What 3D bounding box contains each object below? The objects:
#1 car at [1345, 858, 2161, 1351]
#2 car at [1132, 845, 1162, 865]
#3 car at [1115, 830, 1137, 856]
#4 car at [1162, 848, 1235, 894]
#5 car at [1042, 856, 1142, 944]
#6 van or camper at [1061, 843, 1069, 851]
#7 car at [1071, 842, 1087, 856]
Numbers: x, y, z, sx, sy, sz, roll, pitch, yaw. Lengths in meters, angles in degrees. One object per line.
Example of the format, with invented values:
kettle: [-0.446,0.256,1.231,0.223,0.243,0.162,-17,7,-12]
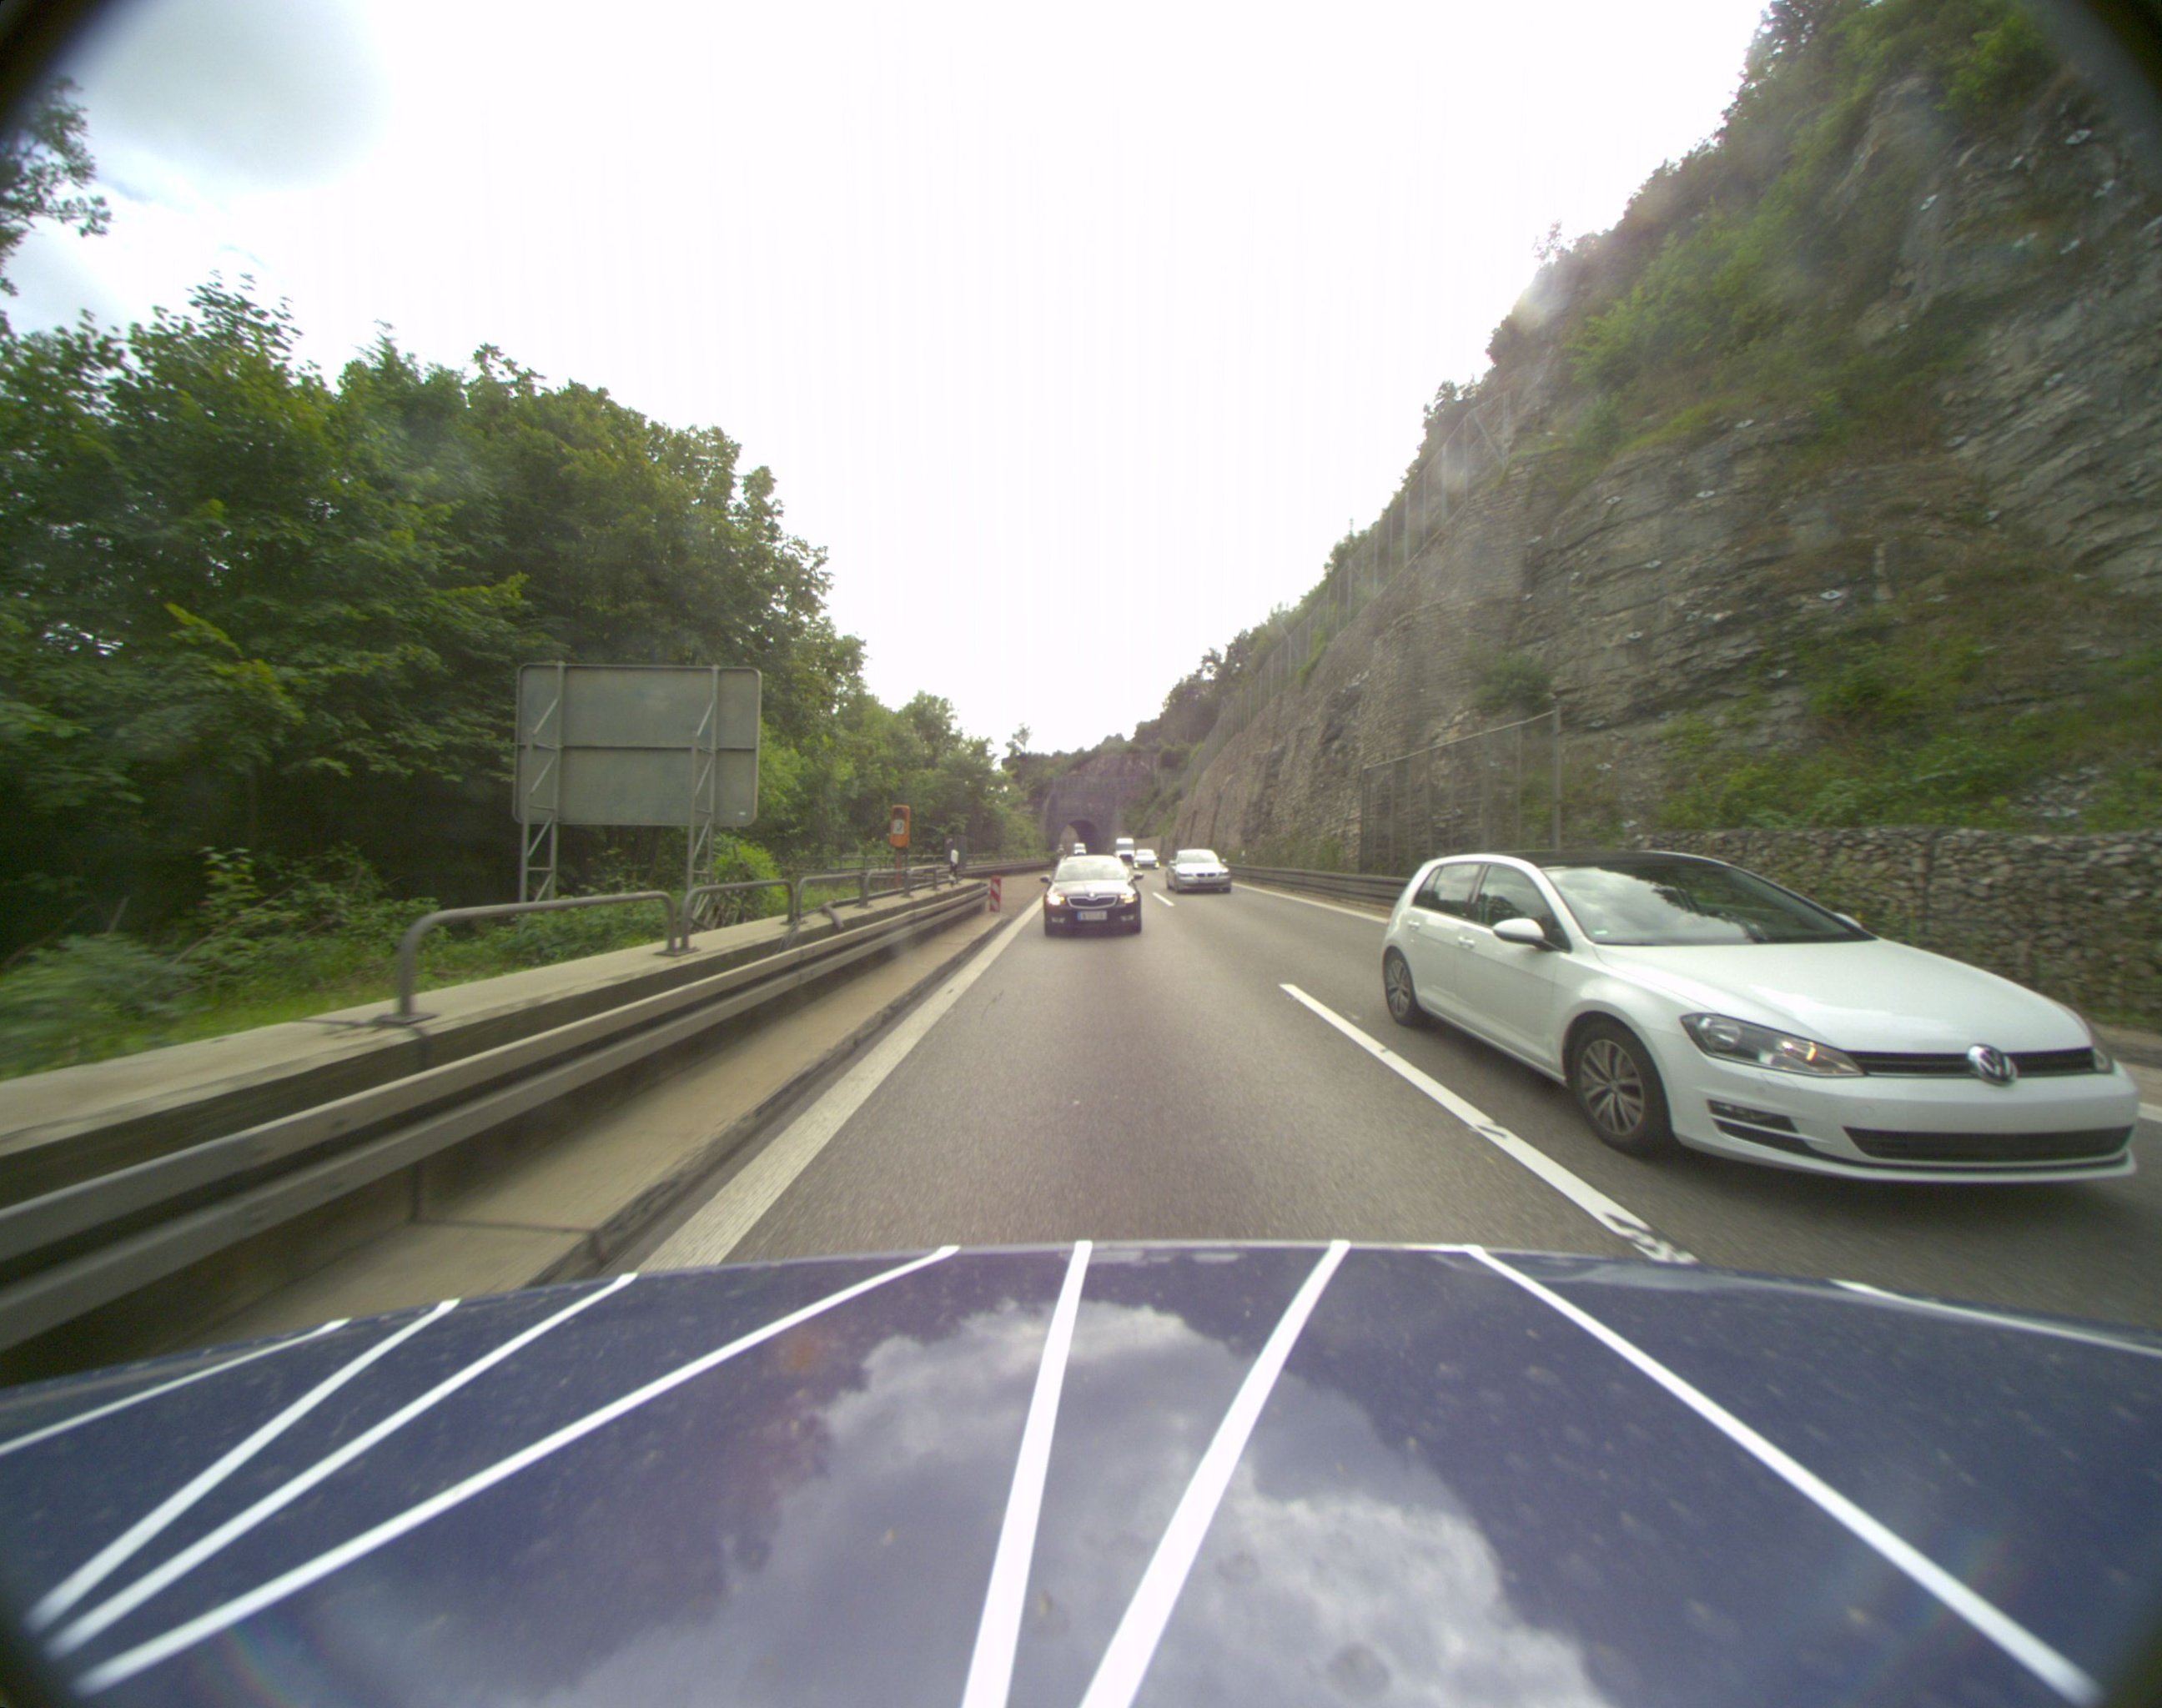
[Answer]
car: [3.387,0.852,4.824,1.849,1.473,4.627,-2,1,1]
car: [4.912,0.062,57.133,1.922,1.452,4.230,-1,0,1]
car: [4.508,-1.104,76.569,1.869,2.444,4.981,-2,2,0]
car: [4.023,0.525,26.741,1.832,1.448,5.135,-1,0,1]
car: [0.200,0.798,15.242,1.677,1.419,4.472,-1,0,0]
van or camper: [-4.071,-1.782,196.511,1.999,2.002,3.999,-1,1,-1]
car: [-0.413,-0.914,141.522,2.675,2.408,6.119,-1,0,-3]
